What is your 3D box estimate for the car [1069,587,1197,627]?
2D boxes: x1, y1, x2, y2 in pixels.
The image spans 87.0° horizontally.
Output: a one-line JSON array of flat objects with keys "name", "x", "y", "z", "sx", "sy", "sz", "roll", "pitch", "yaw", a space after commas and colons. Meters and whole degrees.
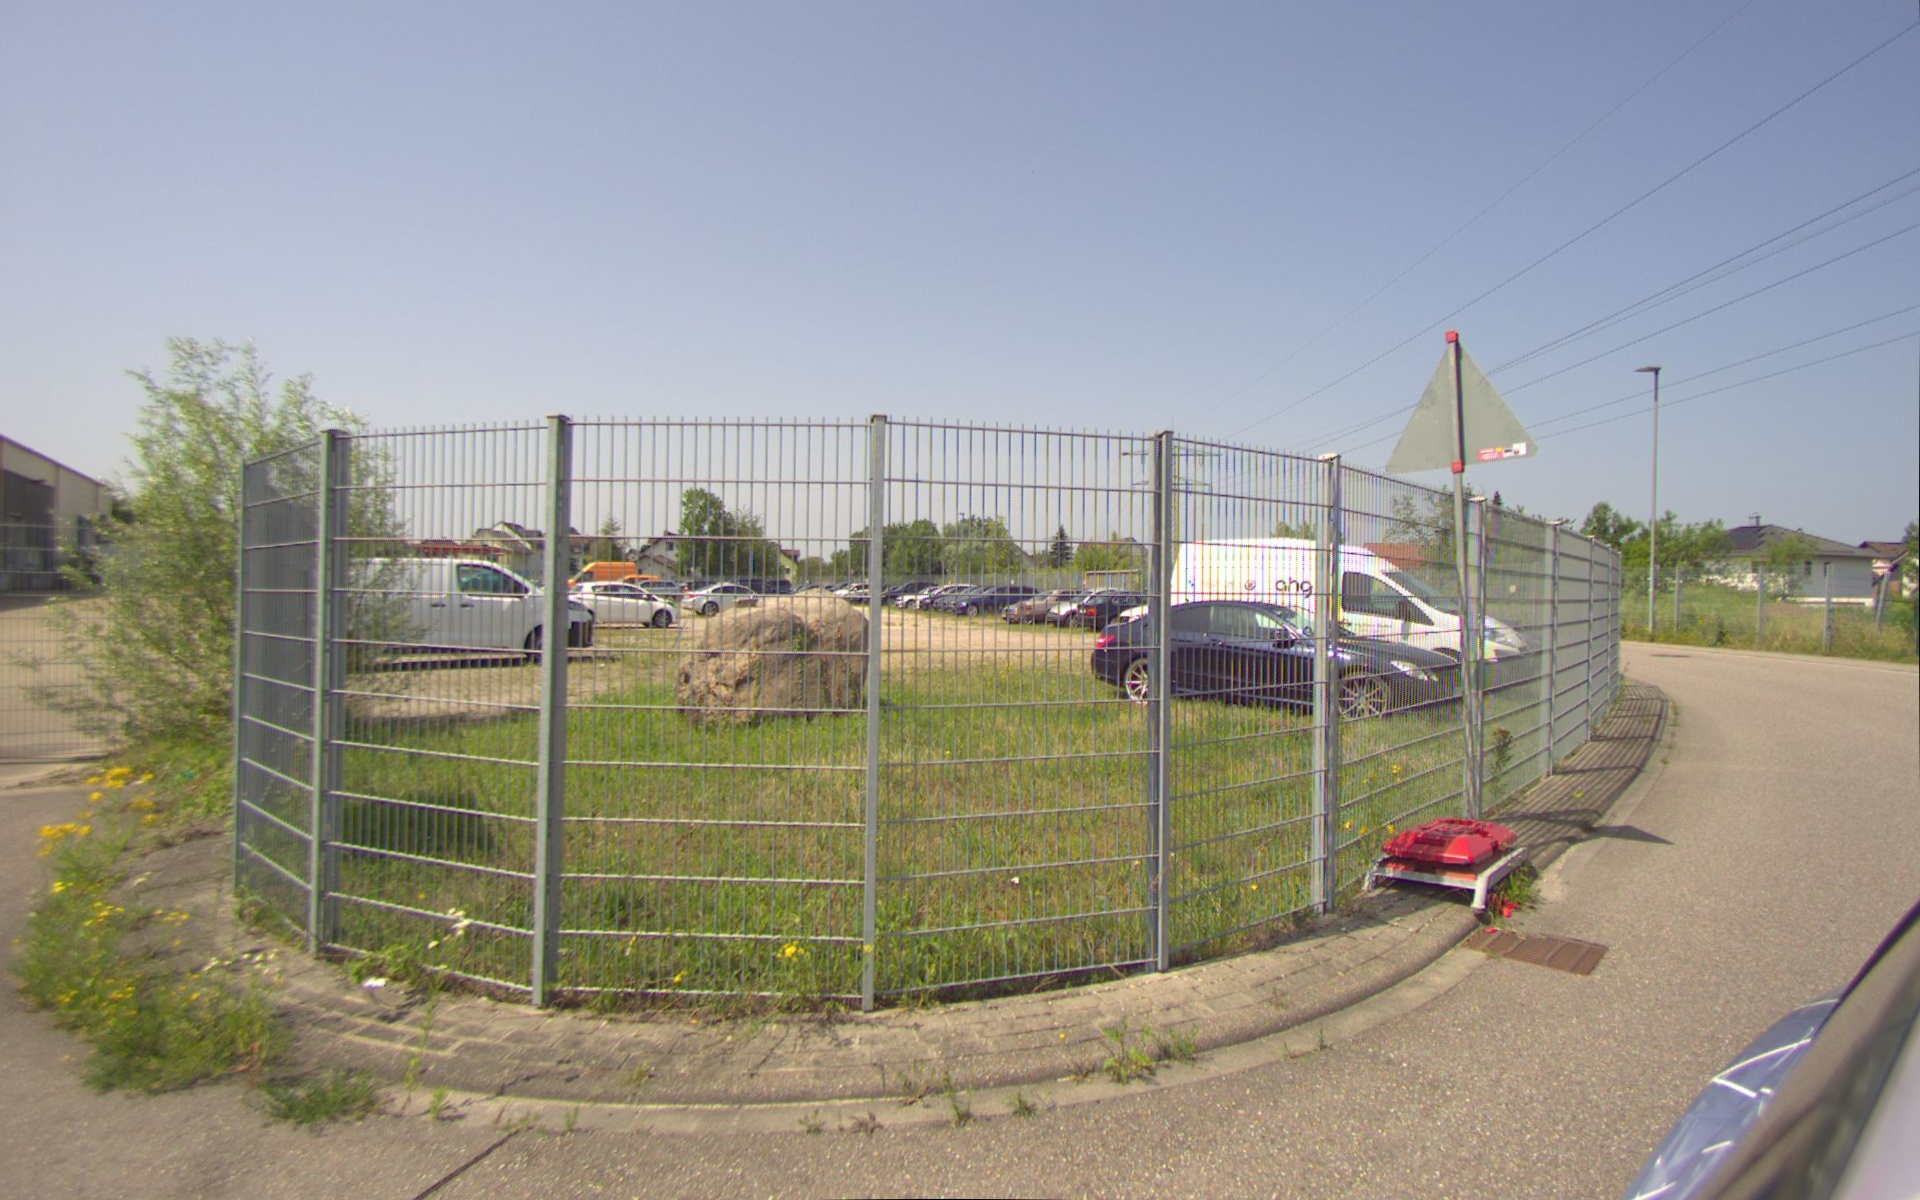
[{"name": "car", "x": 6.104, "y": 0.230, "z": 35.775, "sx": 4.108, "sy": 1.371, "sz": 1.727, "roll": 0, "pitch": 1, "yaw": -16}]

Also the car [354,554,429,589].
[{"name": "car", "x": -38.585, "y": -1.892, "z": 68.669, "sx": 4.303, "sy": 2.199, "sz": 1.975, "roll": 1, "pitch": 0, "yaw": -32}]

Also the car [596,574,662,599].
[{"name": "car", "x": -21.161, "y": -0.876, "z": 64.737, "sx": 3.752, "sy": 1.480, "sz": 1.590, "roll": 1, "pitch": 0, "yaw": -30}]

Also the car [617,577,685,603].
[{"name": "car", "x": -19.088, "y": -0.612, "z": 62.513, "sx": 3.752, "sy": 1.480, "sz": 1.590, "roll": 1, "pitch": 0, "yaw": -30}]

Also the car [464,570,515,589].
[{"name": "car", "x": -41.903, "y": -1.817, "z": 90.183, "sx": 3.890, "sy": 1.504, "sz": 1.754, "roll": 1, "pitch": 0, "yaw": -32}]

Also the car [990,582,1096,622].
[{"name": "car", "x": 3.508, "y": 0.064, "z": 42.871, "sx": 4.090, "sy": 1.492, "sz": 1.642, "roll": -2, "pitch": 2, "yaw": -17}]

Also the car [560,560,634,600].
[{"name": "car", "x": -25.737, "y": -1.389, "z": 71.748, "sx": 4.651, "sy": 2.617, "sz": 1.982, "roll": 1, "pitch": -1, "yaw": -30}]

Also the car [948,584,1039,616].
[{"name": "car", "x": 1.645, "y": -0.038, "z": 49.613, "sx": 4.090, "sy": 1.354, "sz": 1.642, "roll": -2, "pitch": 2, "yaw": -17}]

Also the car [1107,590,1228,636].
[{"name": "car", "x": 6.738, "y": 0.418, "z": 32.986, "sx": 3.460, "sy": 1.406, "sz": 1.640, "roll": 1, "pitch": 1, "yaw": -16}]

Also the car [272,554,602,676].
[{"name": "car", "x": -9.107, "y": 0.190, "z": 17.977, "sx": 4.974, "sy": 1.923, "sz": 1.860, "roll": -1, "pitch": 1, "yaw": -29}]

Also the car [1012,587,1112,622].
[{"name": "car", "x": 4.087, "y": 0.171, "z": 40.657, "sx": 3.597, "sy": 1.371, "sz": 1.744, "roll": 0, "pitch": 1, "yaw": -15}]

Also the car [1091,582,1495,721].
[{"name": "car", "x": 4.005, "y": 0.499, "z": 12.592, "sx": 4.414, "sy": 1.377, "sz": 1.880, "roll": 2, "pitch": 1, "yaw": 40}]

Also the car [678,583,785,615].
[{"name": "car", "x": -10.317, "y": -0.056, "z": 45.690, "sx": 4.432, "sy": 1.368, "sz": 1.629, "roll": 0, "pitch": 1, "yaw": -29}]

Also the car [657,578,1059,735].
[{"name": "car", "x": -1.136, "y": 0.444, "z": 10.508, "sx": 3.905, "sy": 1.293, "sz": 1.882, "roll": 2, "pitch": 1, "yaw": 36}]

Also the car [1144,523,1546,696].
[{"name": "car", "x": 5.577, "y": 0.053, "z": 15.085, "sx": 5.310, "sy": 2.176, "sz": 1.882, "roll": 2, "pitch": 1, "yaw": 36}]

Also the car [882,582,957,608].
[{"name": "car", "x": -2.408, "y": -0.301, "z": 60.155, "sx": 4.090, "sy": 1.354, "sz": 1.642, "roll": -2, "pitch": 2, "yaw": -17}]

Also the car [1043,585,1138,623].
[{"name": "car", "x": 4.915, "y": 0.147, "z": 38.161, "sx": 3.209, "sy": 1.371, "sz": 1.531, "roll": 0, "pitch": 1, "yaw": -18}]

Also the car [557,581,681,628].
[{"name": "car", "x": -11.201, "y": 0.121, "z": 33.271, "sx": 3.595, "sy": 1.454, "sz": 1.537, "roll": 0, "pitch": 1, "yaw": -33}]
